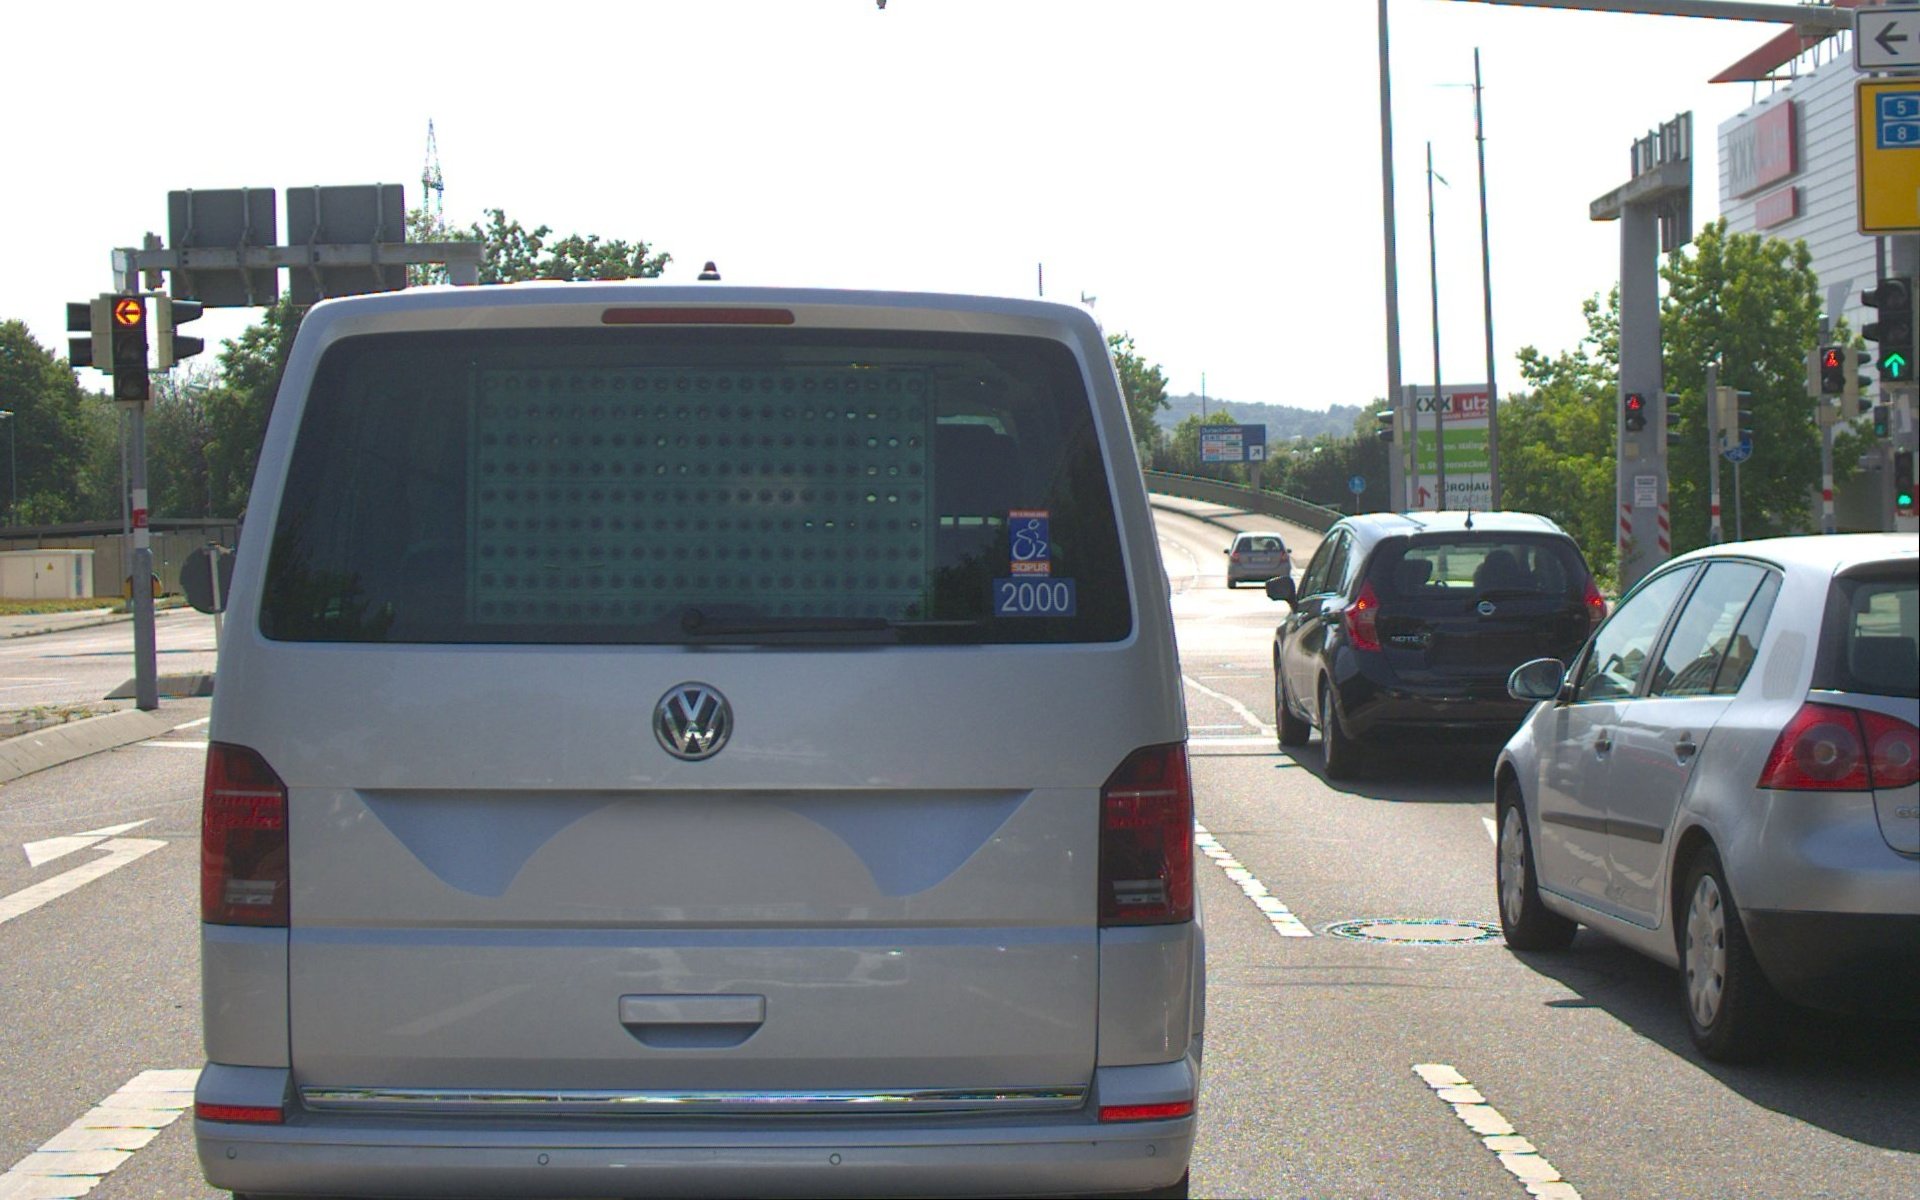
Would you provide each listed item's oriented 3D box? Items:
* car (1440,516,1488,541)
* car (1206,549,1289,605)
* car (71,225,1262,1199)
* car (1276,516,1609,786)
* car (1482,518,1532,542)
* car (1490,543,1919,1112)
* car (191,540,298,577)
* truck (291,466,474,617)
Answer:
[{"bbox_3d":[31.869,-4.496,217.415,1.883,1.514,4.001,1,0,-9],"label":"car"},{"bbox_3d":[7.749,-0.636,92.925,1.530,1.433,3.248,-2,1,-8],"label":"car"},{"bbox_3d":[-0.505,0.332,7.704,1.917,1.968,4.297,0,1,-1],"label":"car"},{"bbox_3d":[2.795,0.237,20.545,1.531,1.475,3.596,0,1,1],"label":"car"},{"bbox_3d":[34.588,-4.432,217.454,1.993,1.415,4.001,1,0,-9],"label":"car"},{"bbox_3d":[2.792,0.544,10.539,1.666,1.409,3.683,0,1,-2],"label":"car"},{"bbox_3d":[-29.596,-1.714,142.200,4.098,1.415,1.729,-1,0,-19],"label":"car"},{"bbox_3d":[-14.936,-1.562,89.484,2.747,3.667,7.578,-2,1,5],"label":"truck"}]
